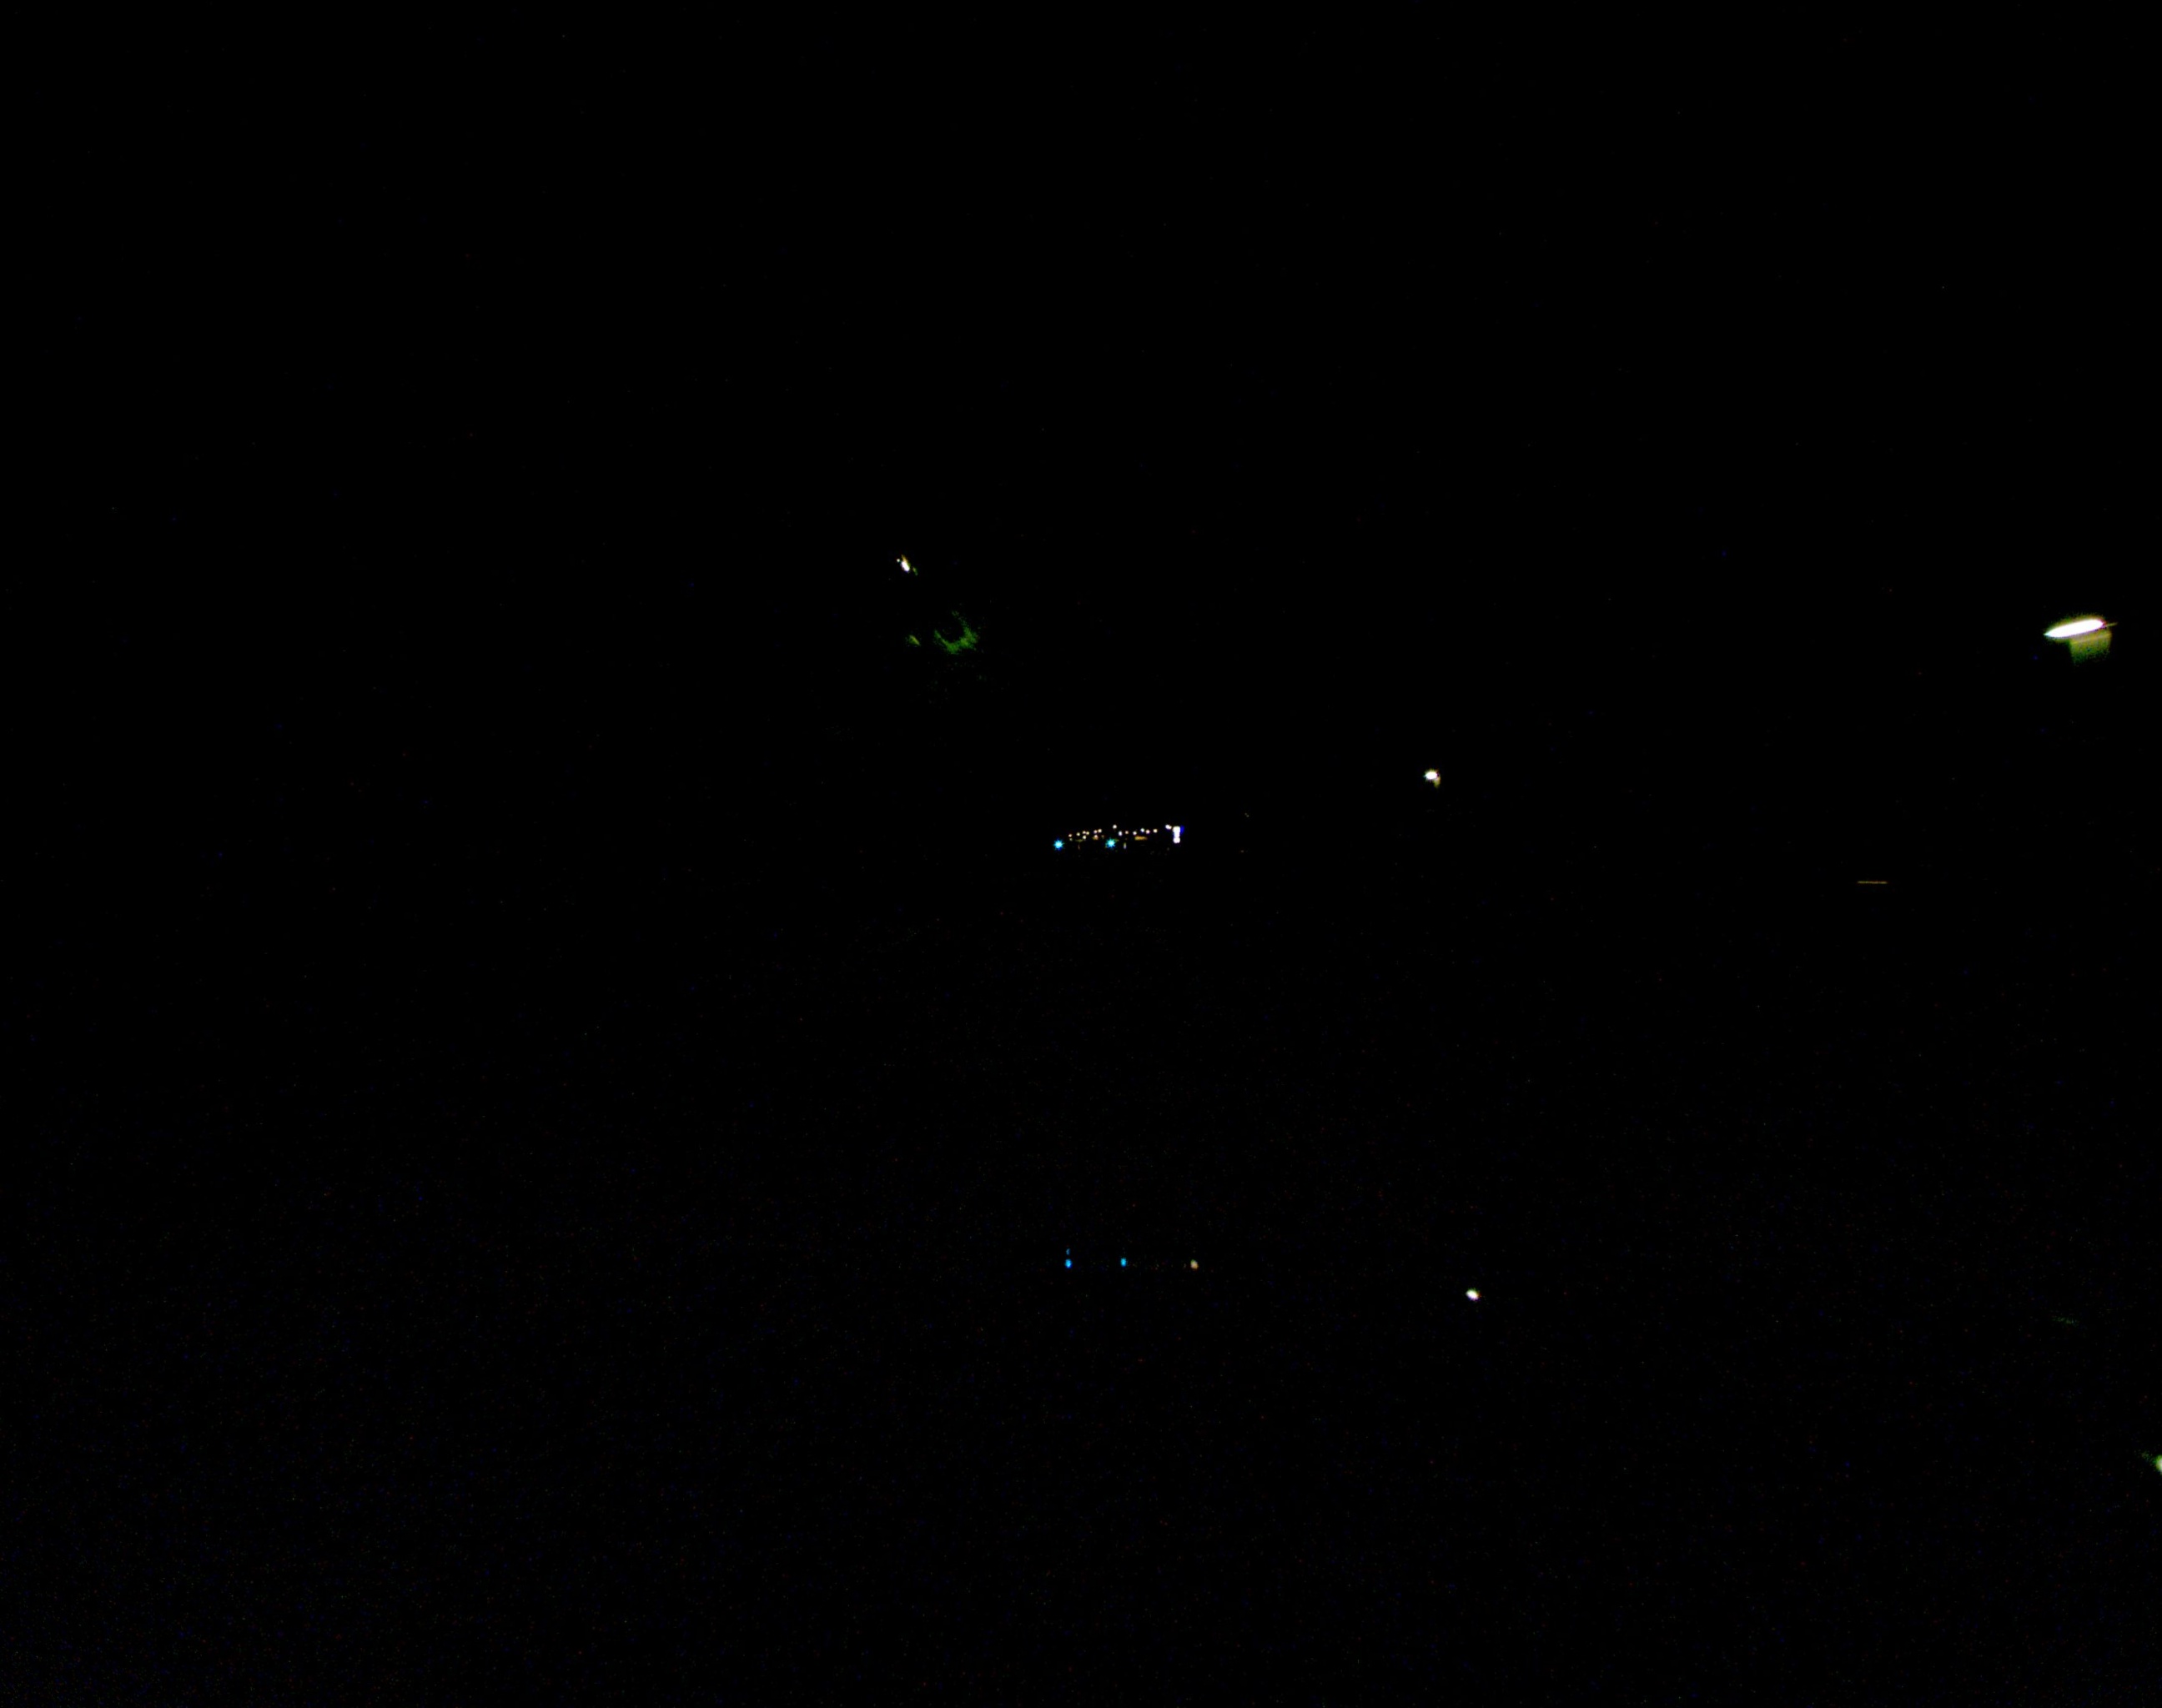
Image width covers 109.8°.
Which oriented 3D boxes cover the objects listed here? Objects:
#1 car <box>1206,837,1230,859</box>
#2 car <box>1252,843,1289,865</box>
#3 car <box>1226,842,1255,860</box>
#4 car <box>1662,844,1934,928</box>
[{"bbox_3d":[16.633,-0.744,92.523,2.164,2.498,4.720,2,1,3],"label":"car"},{"bbox_3d":[16.376,-0.069,65.913,2.124,1.761,4.720,2,1,3],"label":"car"},{"bbox_3d":[16.517,-0.318,78.855,2.124,1.761,4.720,2,1,3],"label":"car"},{"bbox_3d":[16.035,0.629,17.448,1.768,1.559,4.693,3,0,1],"label":"car"}]
